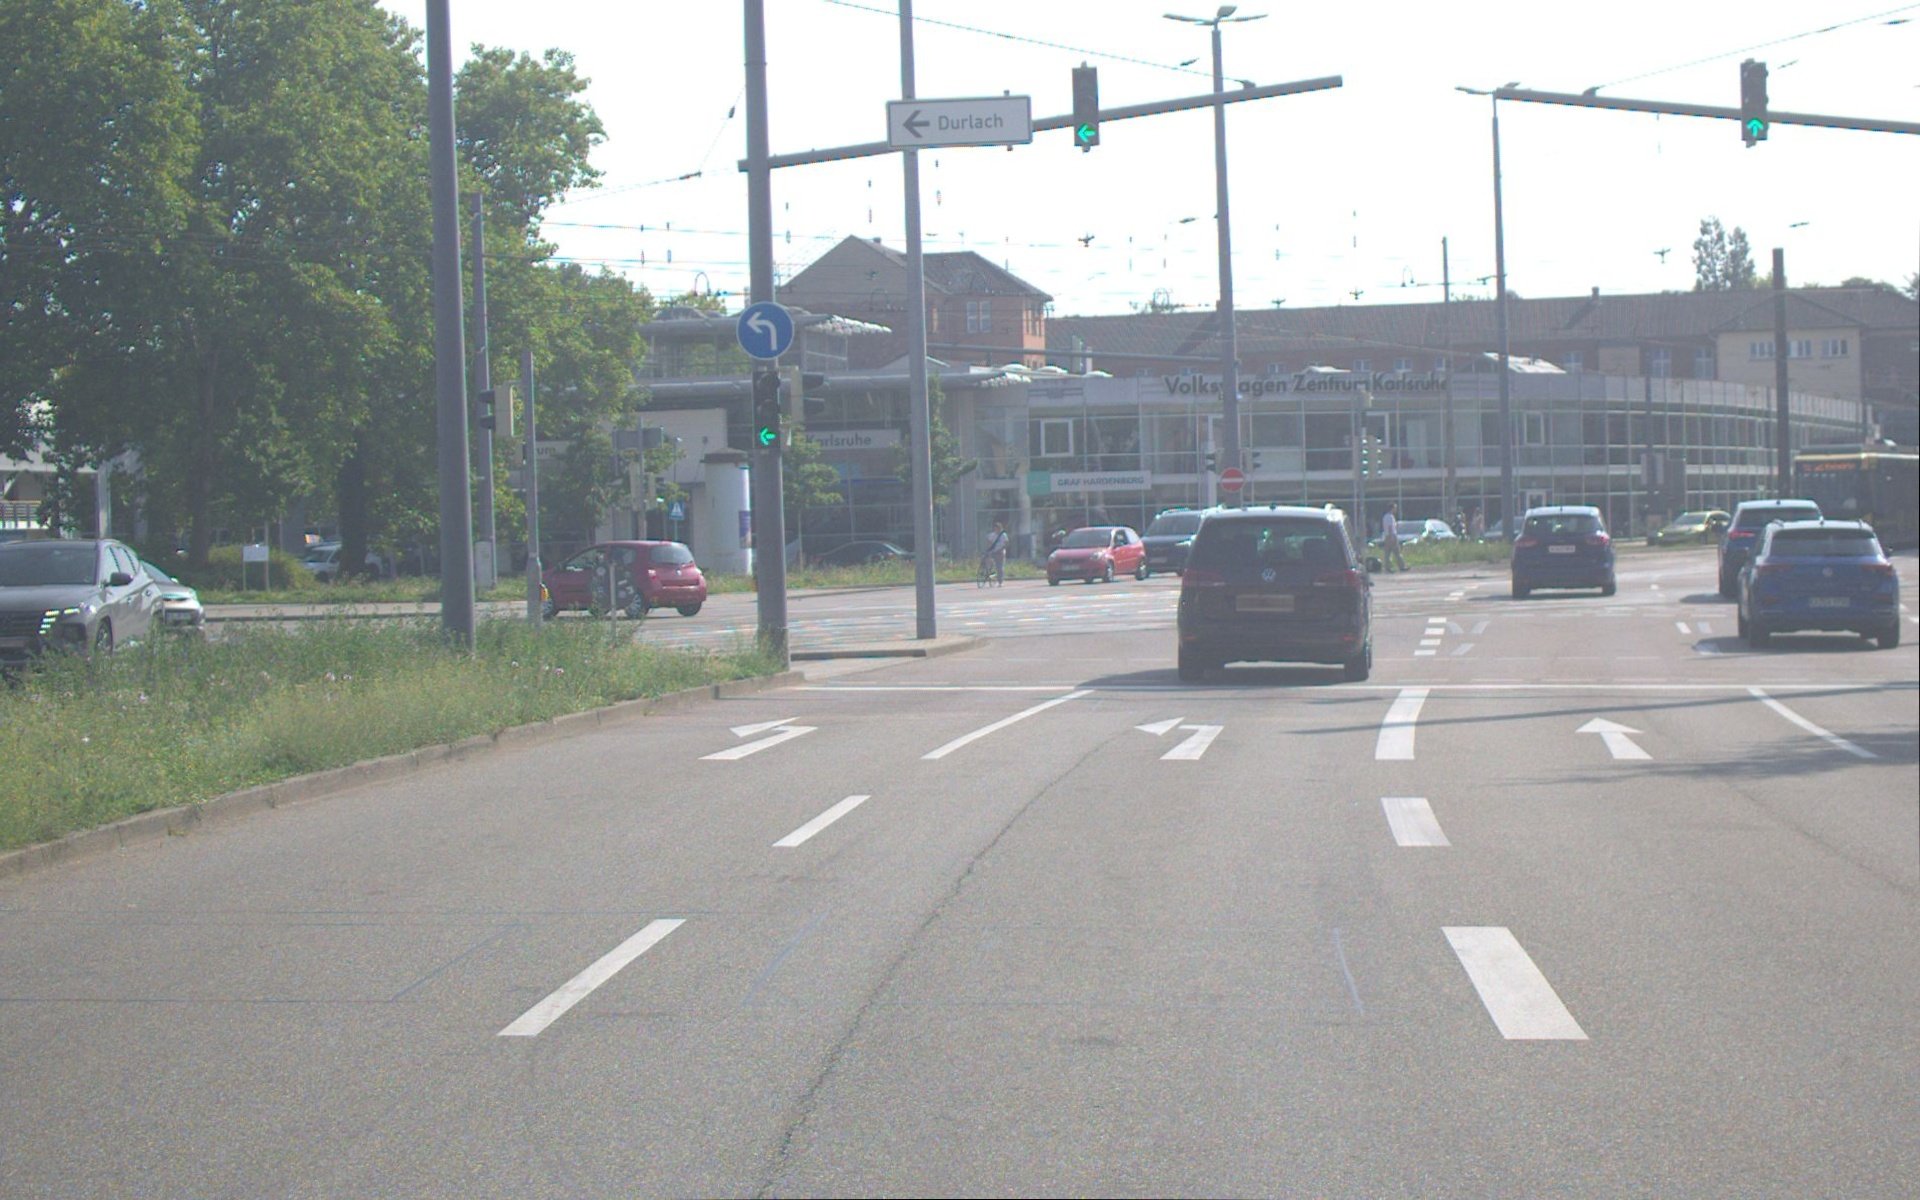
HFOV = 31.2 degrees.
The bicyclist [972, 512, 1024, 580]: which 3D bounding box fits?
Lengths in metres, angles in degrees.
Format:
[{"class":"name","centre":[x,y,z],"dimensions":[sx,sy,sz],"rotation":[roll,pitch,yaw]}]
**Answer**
[{"class":"bicyclist","centre":[0.997,-1.423,90.404],"dimensions":[0.959,1.742,1.165],"rotation":[0,1,23]}]

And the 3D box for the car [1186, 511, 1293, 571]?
[{"class":"car","centre":[7.465,-1.588,91.556],"dimensions":[1.616,1.470,3.996],"rotation":[-3,0,22]}]

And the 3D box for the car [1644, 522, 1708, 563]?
[{"class":"car","centre":[28.128,-2.263,134.962],"dimensions":[1.616,1.470,3.995],"rotation":[-3,0,23]}]

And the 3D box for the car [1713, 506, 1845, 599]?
[{"class":"car","centre":[13.536,-0.815,56.999],"dimensions":[1.826,1.423,4.411],"rotation":[-1,1,10]}]

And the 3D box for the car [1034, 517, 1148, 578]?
[{"class":"car","centre":[3.439,-1.377,89.682],"dimensions":[1.616,1.470,3.996],"rotation":[-3,0,22]}]

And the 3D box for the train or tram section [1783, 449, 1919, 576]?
[{"class":"train or tram section","centre":[27.576,-2.728,105.823],"dimensions":[2.658,3.686,10.577],"rotation":[-1,1,23]}]

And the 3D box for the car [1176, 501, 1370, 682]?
[{"class":"car","centre":[3.163,-0.131,34.713],"dimensions":[1.826,1.708,4.412],"rotation":[0,1,5]}]

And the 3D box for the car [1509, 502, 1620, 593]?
[{"class":"car","centre":[10.805,-0.964,61.685],"dimensions":[1.826,1.530,4.411],"rotation":[-1,1,9]}]

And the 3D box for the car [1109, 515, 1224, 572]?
[{"class":"car","centre":[5.845,-1.596,96.871],"dimensions":[1.962,1.470,3.996],"rotation":[-3,0,22]}]

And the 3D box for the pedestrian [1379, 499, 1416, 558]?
[{"class":"pedestrian","centre":[11.160,-1.829,87.658],"dimensions":[0.778,1.498,0.710],"rotation":[-1,1,19]}]

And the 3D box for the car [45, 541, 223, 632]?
[{"class":"car","centre":[-13.922,-0.240,57.831],"dimensions":[1.888,1.447,3.675],"rotation":[-2,1,-31]}]

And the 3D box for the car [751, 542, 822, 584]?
[{"class":"car","centre":[-6.569,-1.427,130.447],"dimensions":[1.700,1.517,4.097],"rotation":[-1,1,12]}]

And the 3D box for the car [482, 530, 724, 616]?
[{"class":"car","centre":[-6.804,-0.511,65.319],"dimensions":[4.406,1.530,1.828],"rotation":[-1,2,34]}]

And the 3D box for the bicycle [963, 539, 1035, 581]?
[{"class":"bicycle","centre":[1.037,-1.063,90.492],"dimensions":[0.959,1.053,2.605],"rotation":[0,1,23]}]

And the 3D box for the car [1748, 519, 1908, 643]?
[{"class":"car","centre":[10.881,-0.273,43.320],"dimensions":[1.826,1.423,4.410],"rotation":[-1,1,13]}]

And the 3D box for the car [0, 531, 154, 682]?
[{"class":"car","centre":[-10.464,0.047,39.442],"dimensions":[1.693,1.612,4.462],"rotation":[-1,1,-5]}]
